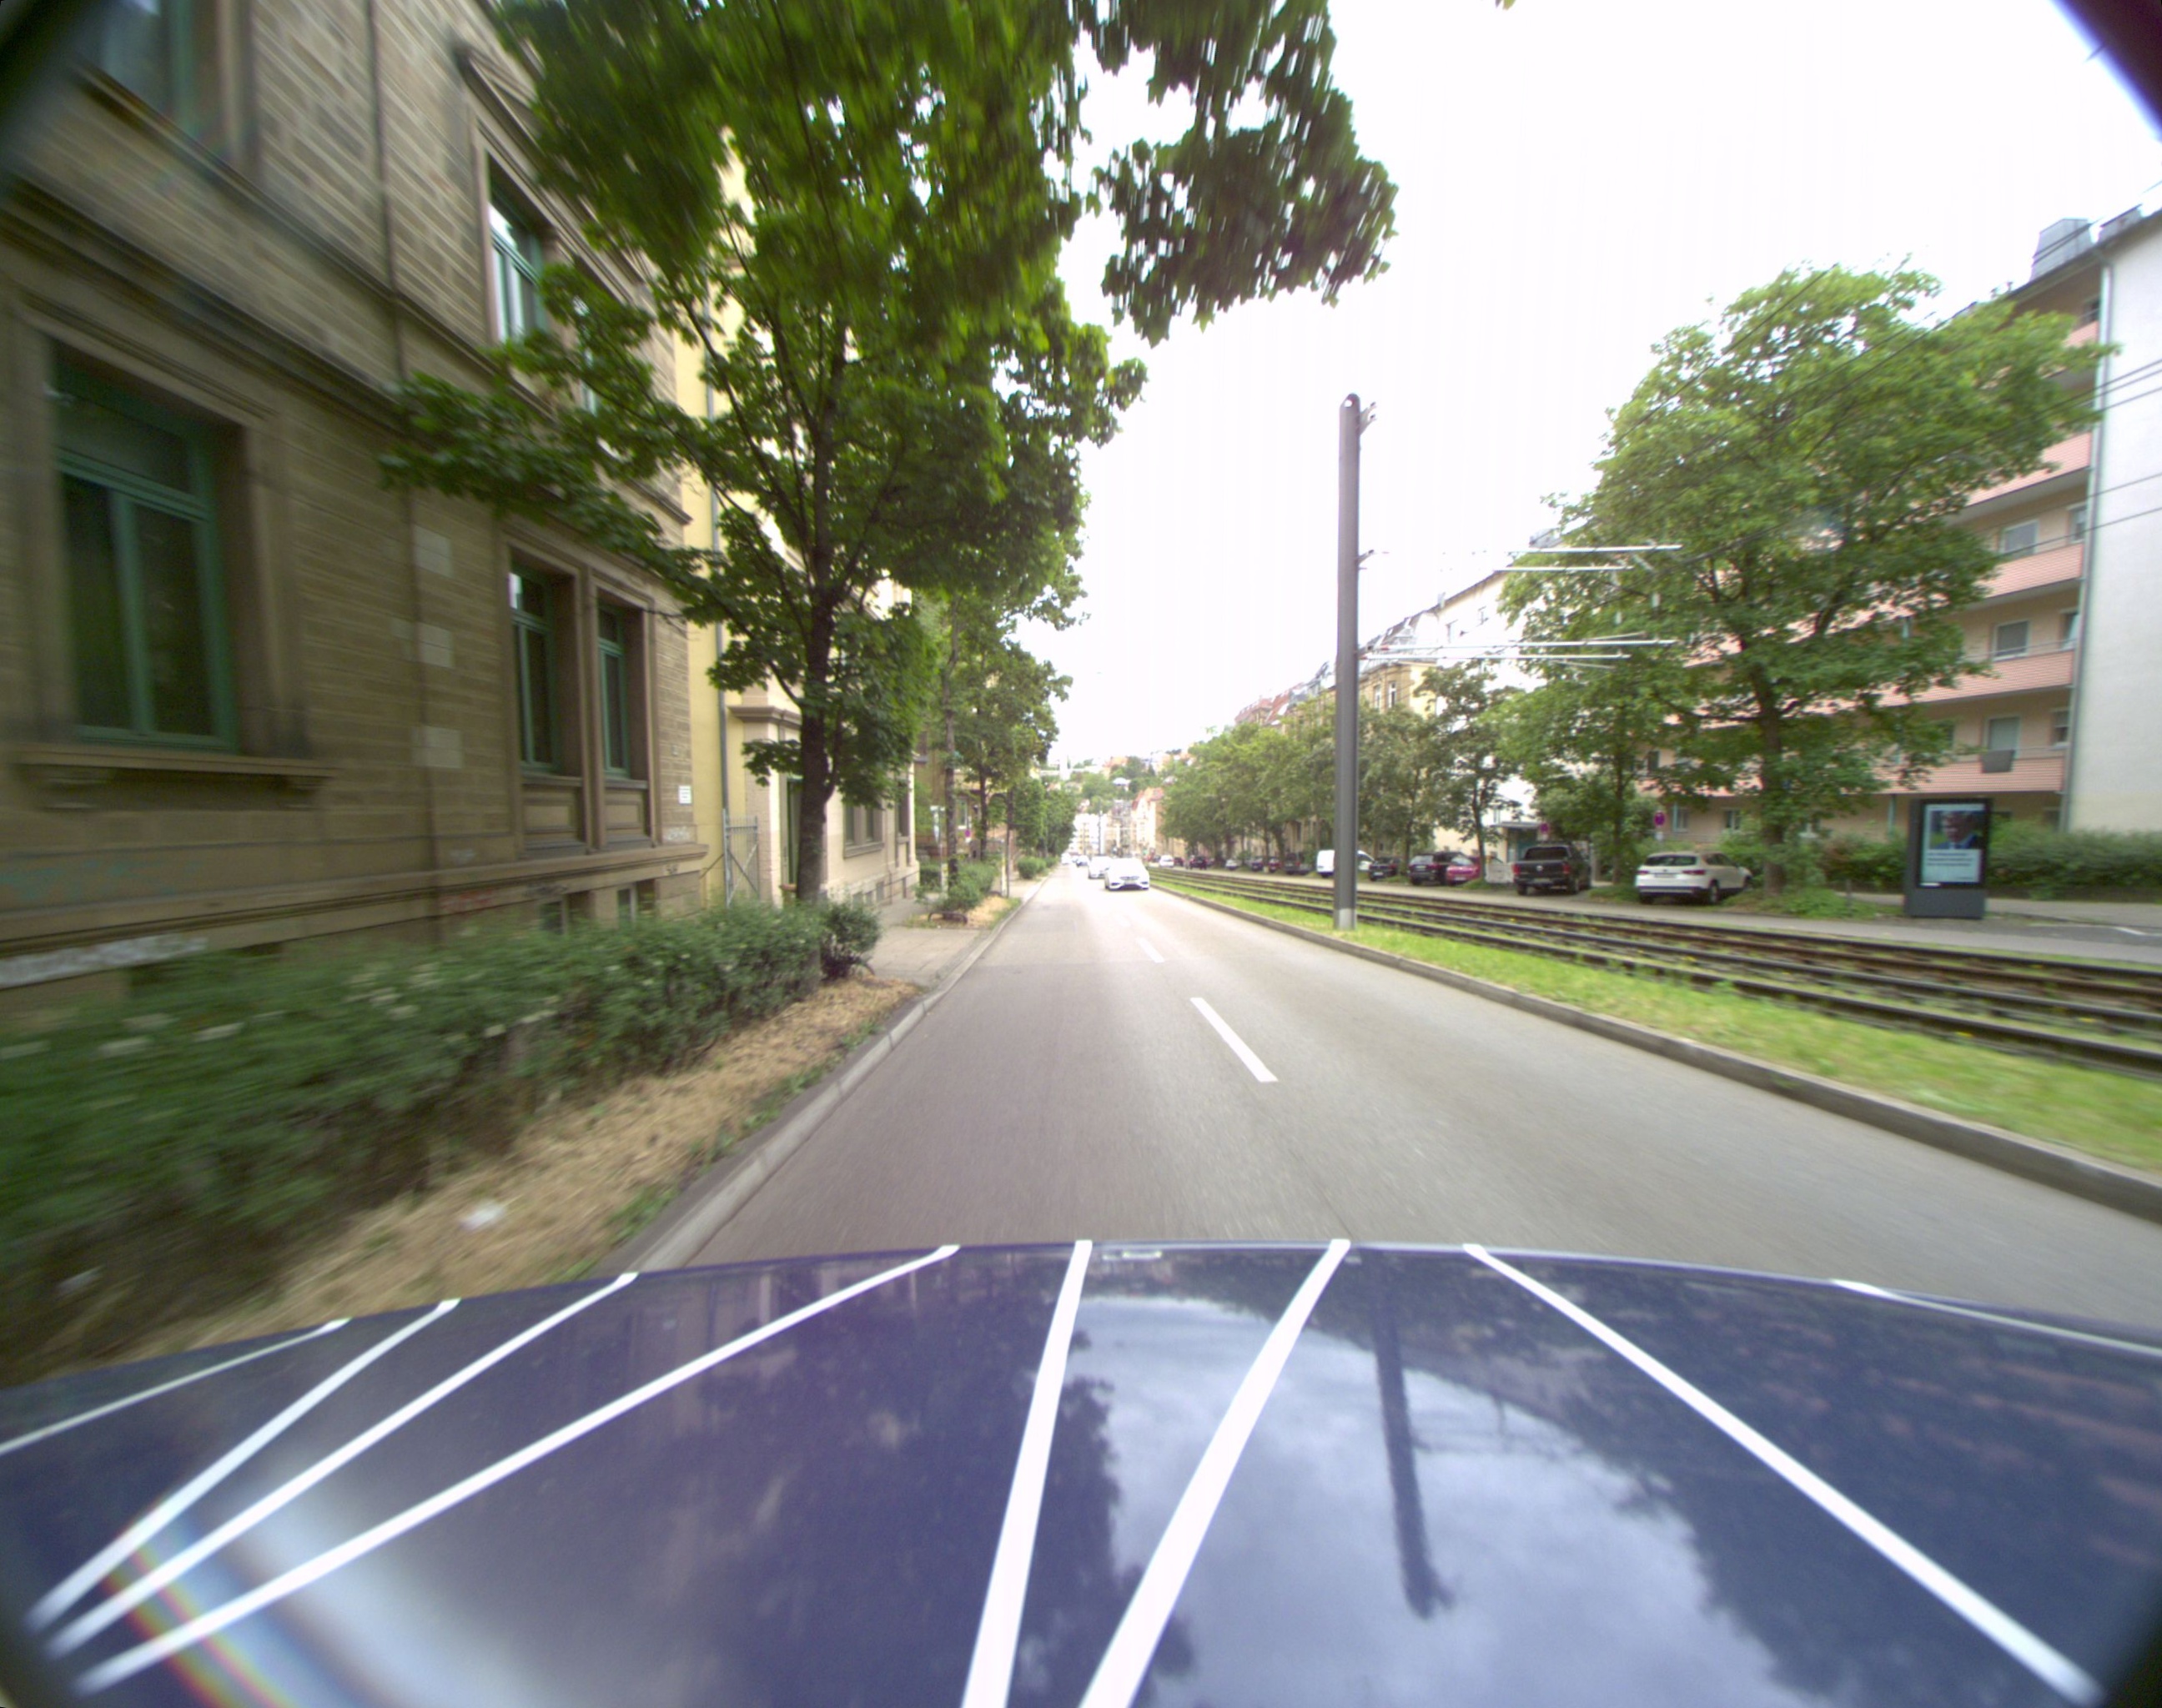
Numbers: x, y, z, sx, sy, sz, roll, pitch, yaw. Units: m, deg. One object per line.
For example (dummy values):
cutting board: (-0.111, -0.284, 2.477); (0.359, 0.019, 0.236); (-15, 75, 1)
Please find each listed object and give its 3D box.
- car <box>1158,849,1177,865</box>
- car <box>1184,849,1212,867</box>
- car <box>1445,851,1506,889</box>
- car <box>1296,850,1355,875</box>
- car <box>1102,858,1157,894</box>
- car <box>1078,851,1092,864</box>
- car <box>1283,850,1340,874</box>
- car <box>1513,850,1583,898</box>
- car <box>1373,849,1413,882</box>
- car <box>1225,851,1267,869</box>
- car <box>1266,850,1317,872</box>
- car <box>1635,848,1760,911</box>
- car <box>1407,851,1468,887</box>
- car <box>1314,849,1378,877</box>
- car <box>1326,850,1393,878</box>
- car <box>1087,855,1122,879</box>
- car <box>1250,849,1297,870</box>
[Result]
car: (11.011, 0.347, 96.861); (1.998, 2.002, 4.000); (0, 0, 1)
car: (12.855, 0.417, 83.696); (2.000, 2.002, 3.997); (-1, 0, -7)
car: (18.434, 0.691, 35.458); (1.779, 1.678, 3.866); (0, 1, 39)
car: (18.016, 0.621, 56.045); (3.860, 1.803, 1.782); (-1, 1, -16)
car: (2.160, 0.961, 34.870); (1.999, 1.390, 4.228); (-3, 0, -3)
car: (0.616, 0.485, 110.291); (1.881, 1.727, 4.000); (0, 0, 1)
car: (17.799, 0.595, 58.701); (3.860, 1.803, 1.782); (-1, 1, -16)
car: (17.709, 0.707, 28.749); (1.779, 1.678, 3.866); (0, 1, 39)
car: (17.910, 0.622, 43.513); (1.780, 1.678, 3.864); (0, 1, 27)
car: (17.170, 0.569, 78.965); (3.860, 1.803, 1.782); (-1, 1, -16)
car: (17.922, 0.564, 64.743); (3.860, 1.803, 1.782); (-1, 1, -16)
car: (18.418, 0.694, 22.675); (3.864, 1.678, 1.780); (-2, 1, -33)
car: (17.674, 0.705, 37.624); (1.779, 1.678, 3.866); (0, 1, 40)
car: (17.598, 0.571, 50.515); (3.862, 1.803, 1.781); (-1, 1, -24)
car: (17.721, 0.626, 48.290); (3.862, 1.678, 1.781); (-1, 1, -24)
car: (1.584, 0.878, 52.776); (1.999, 1.479, 4.228); (-3, 0, -3)
car: (17.773, 0.485, 70.210); (3.860, 1.803, 1.782); (-1, 1, -16)
